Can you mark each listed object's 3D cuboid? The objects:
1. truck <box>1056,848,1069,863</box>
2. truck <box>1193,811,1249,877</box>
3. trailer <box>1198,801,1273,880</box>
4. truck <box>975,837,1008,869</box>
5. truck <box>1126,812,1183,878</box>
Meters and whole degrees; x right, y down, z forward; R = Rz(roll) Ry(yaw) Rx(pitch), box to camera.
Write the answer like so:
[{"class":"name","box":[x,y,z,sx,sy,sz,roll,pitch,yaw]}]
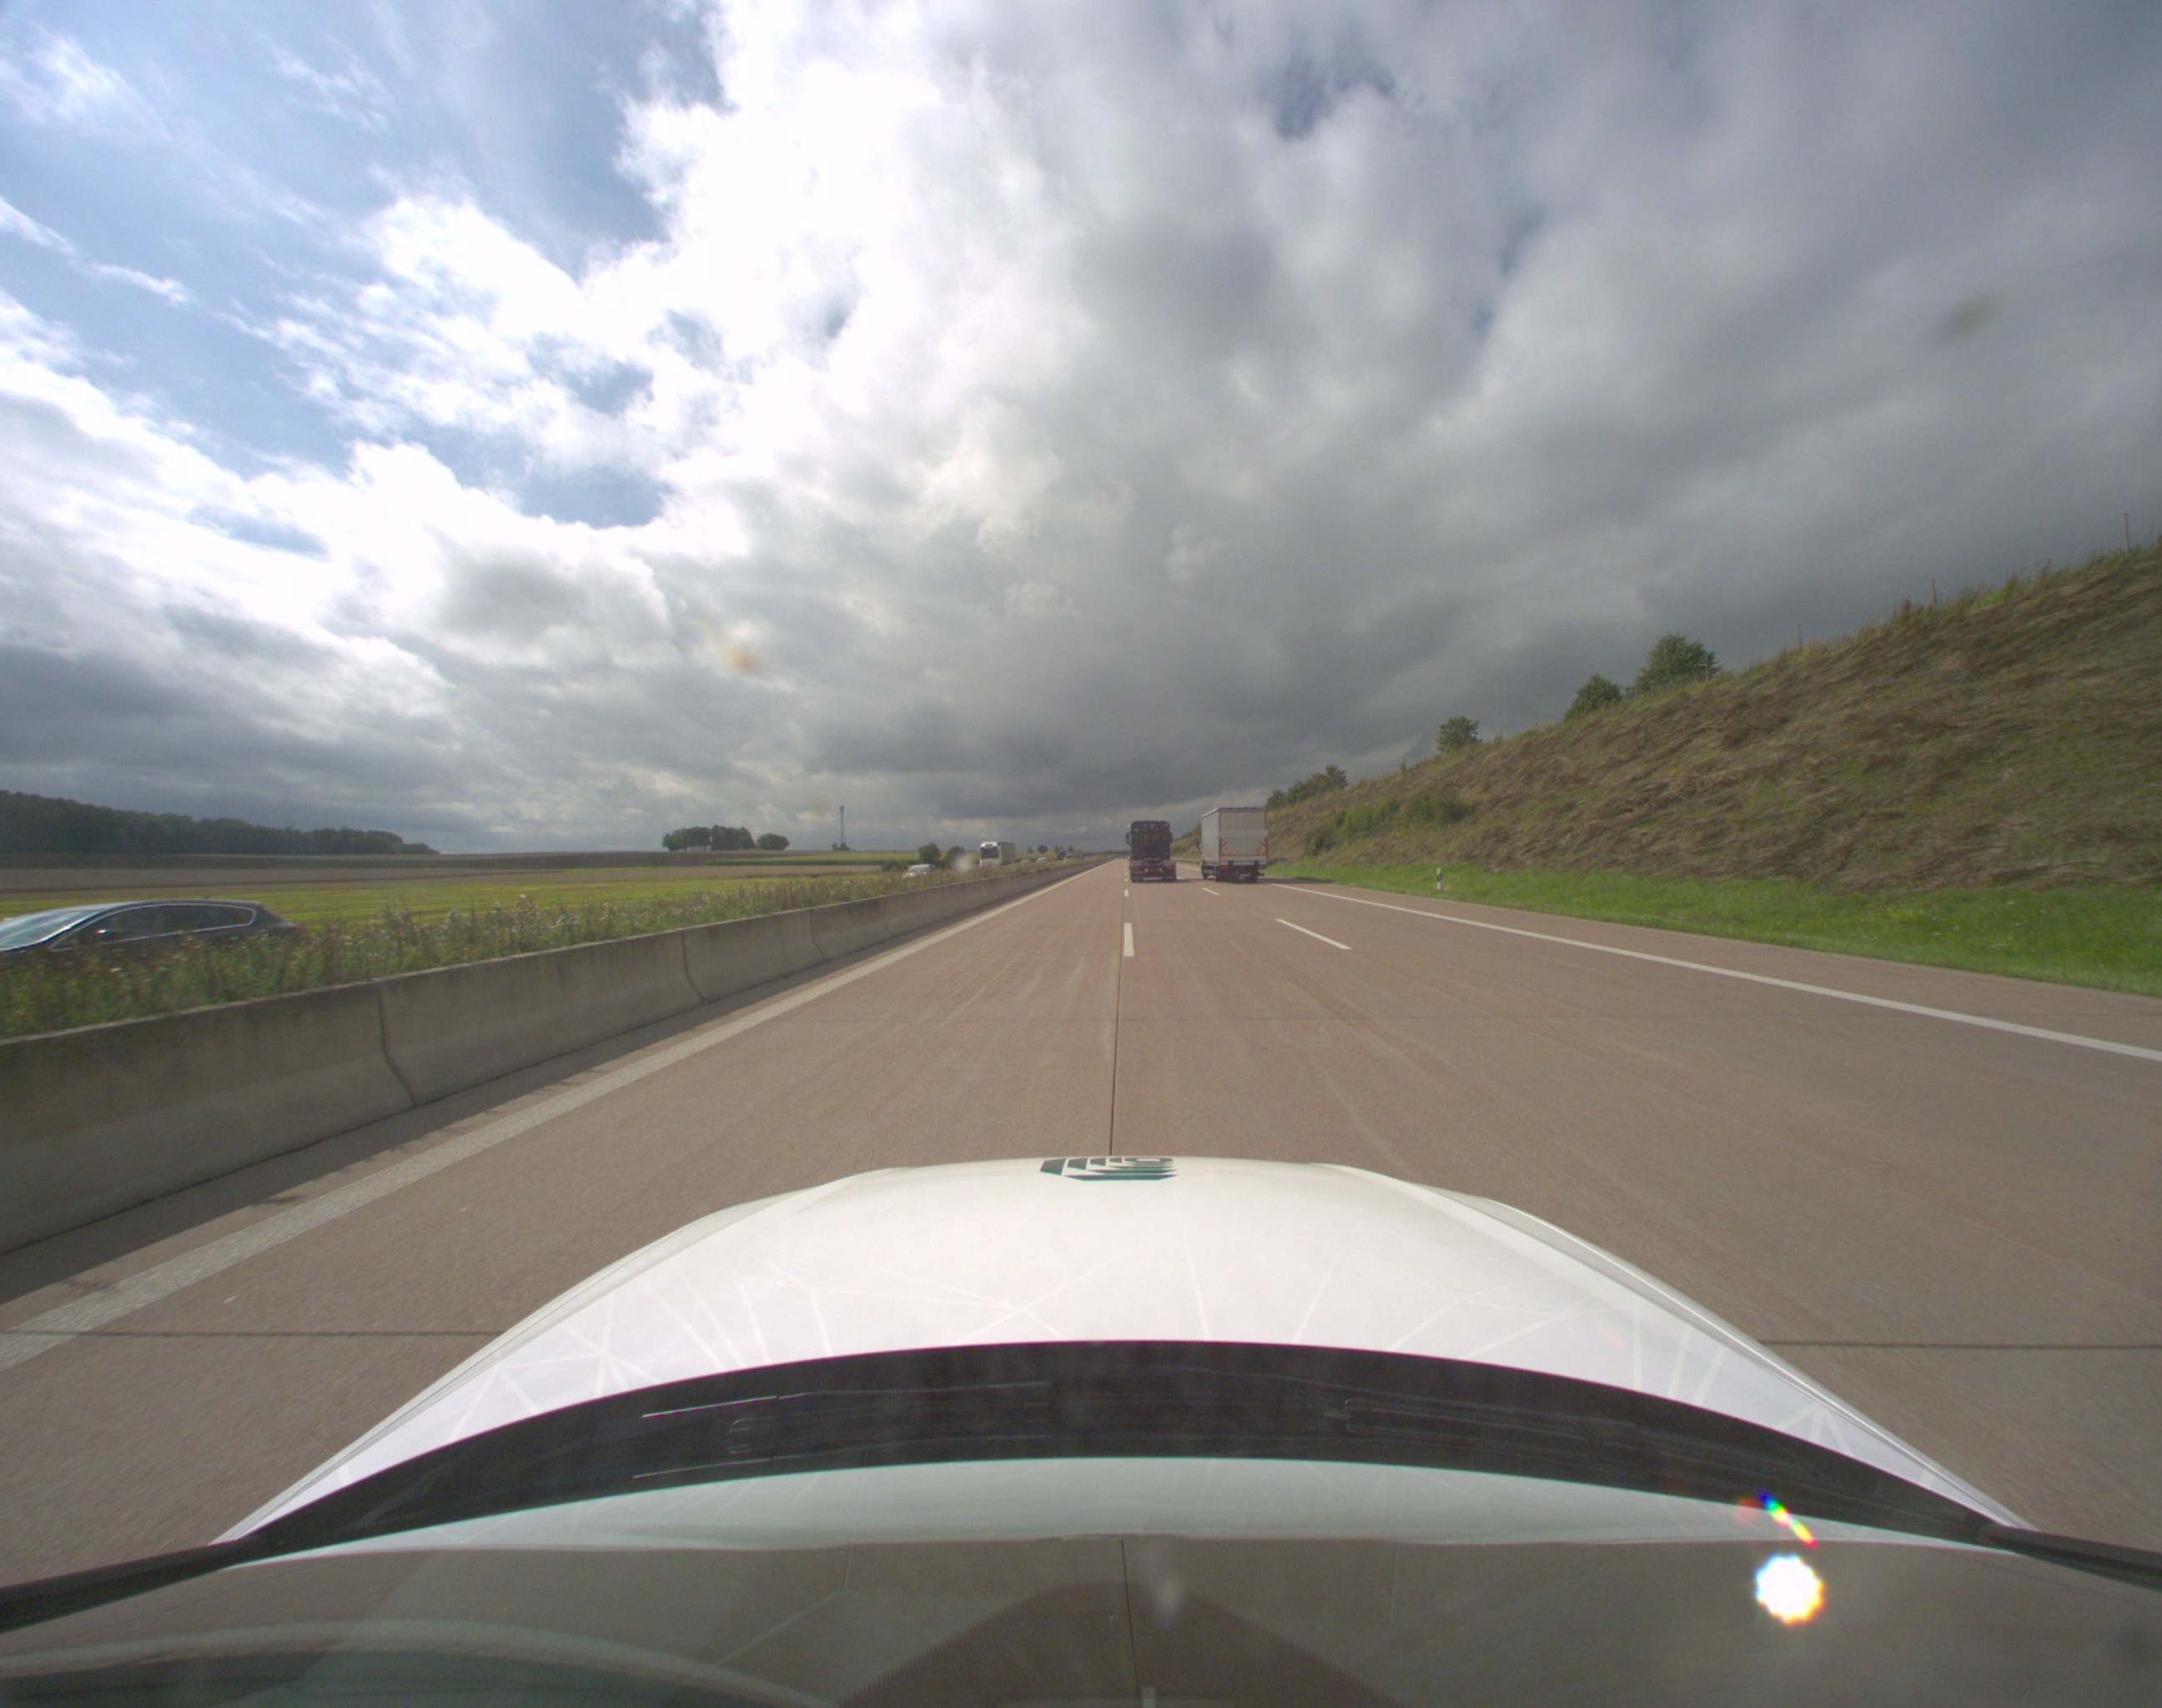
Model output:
[{"class":"truck","box":[-5.092,0.397,228.482,2.879,4.098,6.341,-4,0,4]},{"class":"truck","box":[8.590,-0.586,50.357,2.739,3.892,4.546,-1,-1,1]},{"class":"trailer","box":[8.492,-0.659,45.929,2.737,4.012,8.672,-1,0,1]},{"class":"truck","box":[-11.537,-0.158,105.880,3.192,4.098,6.133,0,0,4]},{"class":"truck","box":[4.208,-0.442,48.301,2.837,3.550,8.322,-1,0,2]}]
